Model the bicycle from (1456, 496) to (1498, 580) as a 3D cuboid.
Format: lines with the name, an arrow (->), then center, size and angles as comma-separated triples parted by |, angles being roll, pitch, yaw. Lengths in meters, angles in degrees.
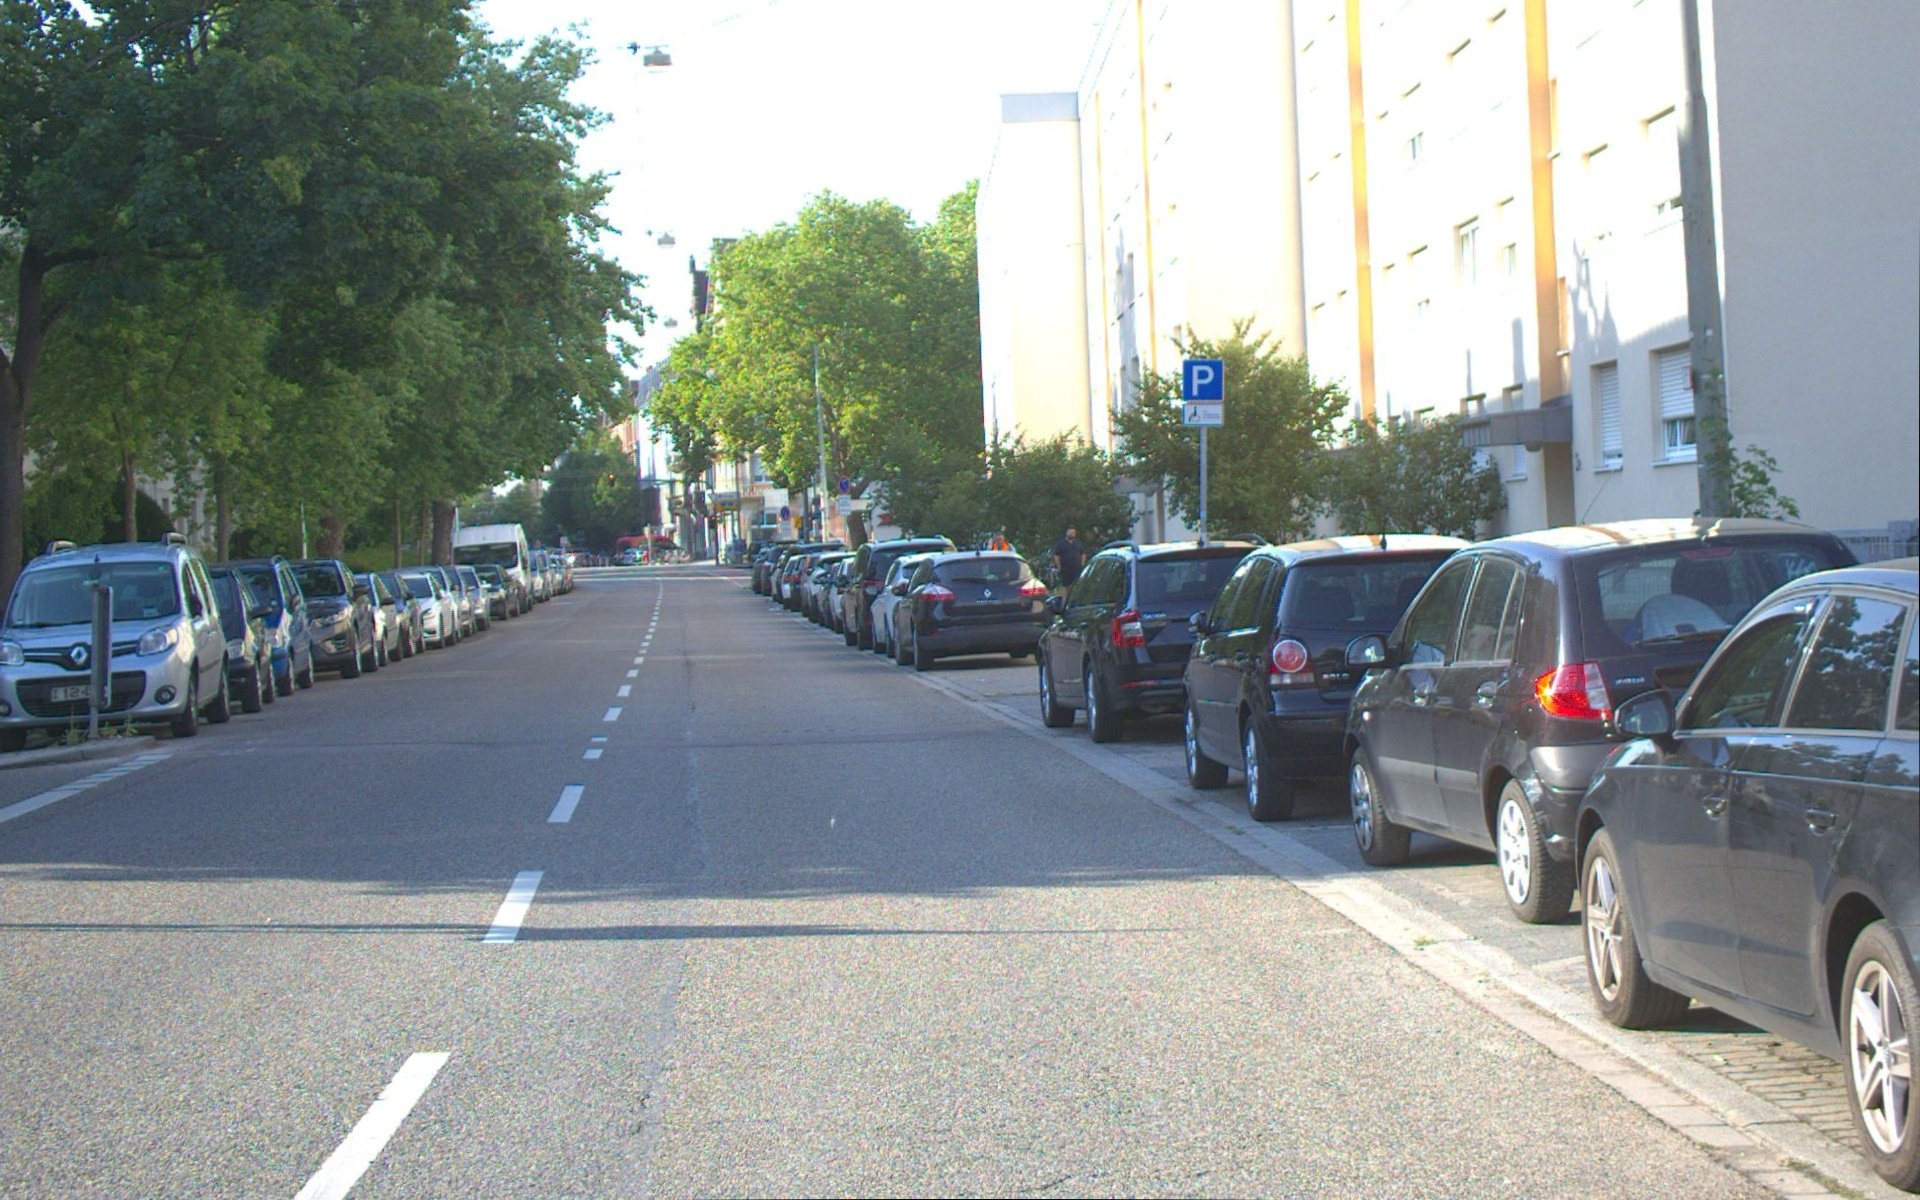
bicycle -> 7.438, -0.886, 49.479 | 0.333, 1.188, 1.241 | 0, 0, -4

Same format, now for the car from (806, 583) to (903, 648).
car -> -2.417, 0.354, 77.926 | 1.873, 1.438, 4.001 | 0, 0, -6

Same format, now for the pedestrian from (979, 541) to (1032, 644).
pedestrian -> 0.842, -0.135, 64.034 | 0.888, 1.884, 1.279 | 0, 0, -4

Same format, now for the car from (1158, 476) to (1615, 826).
car -> 2.293, 0.265, 19.710 | 1.901, 1.773, 4.582 | 0, 0, -2

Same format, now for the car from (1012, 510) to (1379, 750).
car -> 1.707, 0.211, 26.729 | 1.886, 1.556, 4.947 | -4, 0, -6

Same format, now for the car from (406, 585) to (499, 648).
car -> -11.266, 0.367, 76.566 | 1.873, 1.351, 4.654 | 0, 0, -6

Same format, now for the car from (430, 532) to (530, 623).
car -> -13.289, -0.590, 95.502 | 2.357, 2.437, 6.165 | 0, 0, -4

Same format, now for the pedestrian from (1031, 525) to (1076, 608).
pedestrian -> 1.931, -0.680, 70.727 | 0.765, 1.652, 0.536 | -4, 0, -4

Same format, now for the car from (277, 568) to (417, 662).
car -> -9.686, 0.236, 54.617 | 1.873, 1.429, 4.804 | 0, 0, -6

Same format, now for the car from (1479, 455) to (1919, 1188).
car -> 2.849, 0.452, 9.576 | 1.901, 1.524, 4.811 | -1, 0, -2

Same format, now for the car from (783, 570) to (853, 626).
car -> -3.917, -0.045, 94.343 | 1.837, 1.496, 4.172 | 0, 0, -3

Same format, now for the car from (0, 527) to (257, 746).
car -> -7.798, 0.320, 31.995 | 1.841, 1.890, 4.487 | 0, 0, -3

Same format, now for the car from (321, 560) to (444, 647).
car -> -10.674, 0.069, 63.804 | 2.004, 1.547, 4.472 | 0, 0, -6

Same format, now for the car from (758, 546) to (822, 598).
car -> -5.840, -0.957, 117.719 | 1.897, 1.645, 4.343 | -3, 1, -6

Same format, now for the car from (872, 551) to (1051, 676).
car -> -0.035, 0.174, 44.642 | 1.798, 1.502, 4.622 | -1, 0, -6

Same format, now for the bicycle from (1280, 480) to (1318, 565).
bicycle -> 4.856, -1.100, 49.226 | 0.333, 1.188, 1.241 | 0, 0, -4

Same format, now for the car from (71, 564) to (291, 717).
car -> -8.316, 0.416, 36.980 | 1.873, 1.547, 4.001 | 0, 0, -6

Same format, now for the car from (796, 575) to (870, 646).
car -> -3.309, 0.264, 89.777 | 1.837, 1.766, 3.978 | -2, 0, -2

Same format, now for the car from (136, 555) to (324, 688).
car -> -8.883, 0.259, 42.115 | 1.873, 1.547, 4.001 | 0, 0, -6

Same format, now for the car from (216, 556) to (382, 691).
car -> -9.013, 0.316, 47.179 | 1.873, 1.753, 4.690 | 0, 0, -6

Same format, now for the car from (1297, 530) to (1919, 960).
car -> 2.664, 0.490, 14.607 | 1.650, 1.431, 3.961 | -2, 2, -6

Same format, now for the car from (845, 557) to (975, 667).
car -> -0.847, 0.192, 55.656 | 1.771, 1.672, 4.647 | -1, 0, -5

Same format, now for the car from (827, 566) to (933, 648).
car -> -1.596, 0.137, 67.418 | 1.771, 1.449, 4.000 | -4, 0, -5

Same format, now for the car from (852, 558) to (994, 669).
car -> -0.582, 0.199, 50.567 | 1.771, 1.503, 4.000 | -2, 0, -5
